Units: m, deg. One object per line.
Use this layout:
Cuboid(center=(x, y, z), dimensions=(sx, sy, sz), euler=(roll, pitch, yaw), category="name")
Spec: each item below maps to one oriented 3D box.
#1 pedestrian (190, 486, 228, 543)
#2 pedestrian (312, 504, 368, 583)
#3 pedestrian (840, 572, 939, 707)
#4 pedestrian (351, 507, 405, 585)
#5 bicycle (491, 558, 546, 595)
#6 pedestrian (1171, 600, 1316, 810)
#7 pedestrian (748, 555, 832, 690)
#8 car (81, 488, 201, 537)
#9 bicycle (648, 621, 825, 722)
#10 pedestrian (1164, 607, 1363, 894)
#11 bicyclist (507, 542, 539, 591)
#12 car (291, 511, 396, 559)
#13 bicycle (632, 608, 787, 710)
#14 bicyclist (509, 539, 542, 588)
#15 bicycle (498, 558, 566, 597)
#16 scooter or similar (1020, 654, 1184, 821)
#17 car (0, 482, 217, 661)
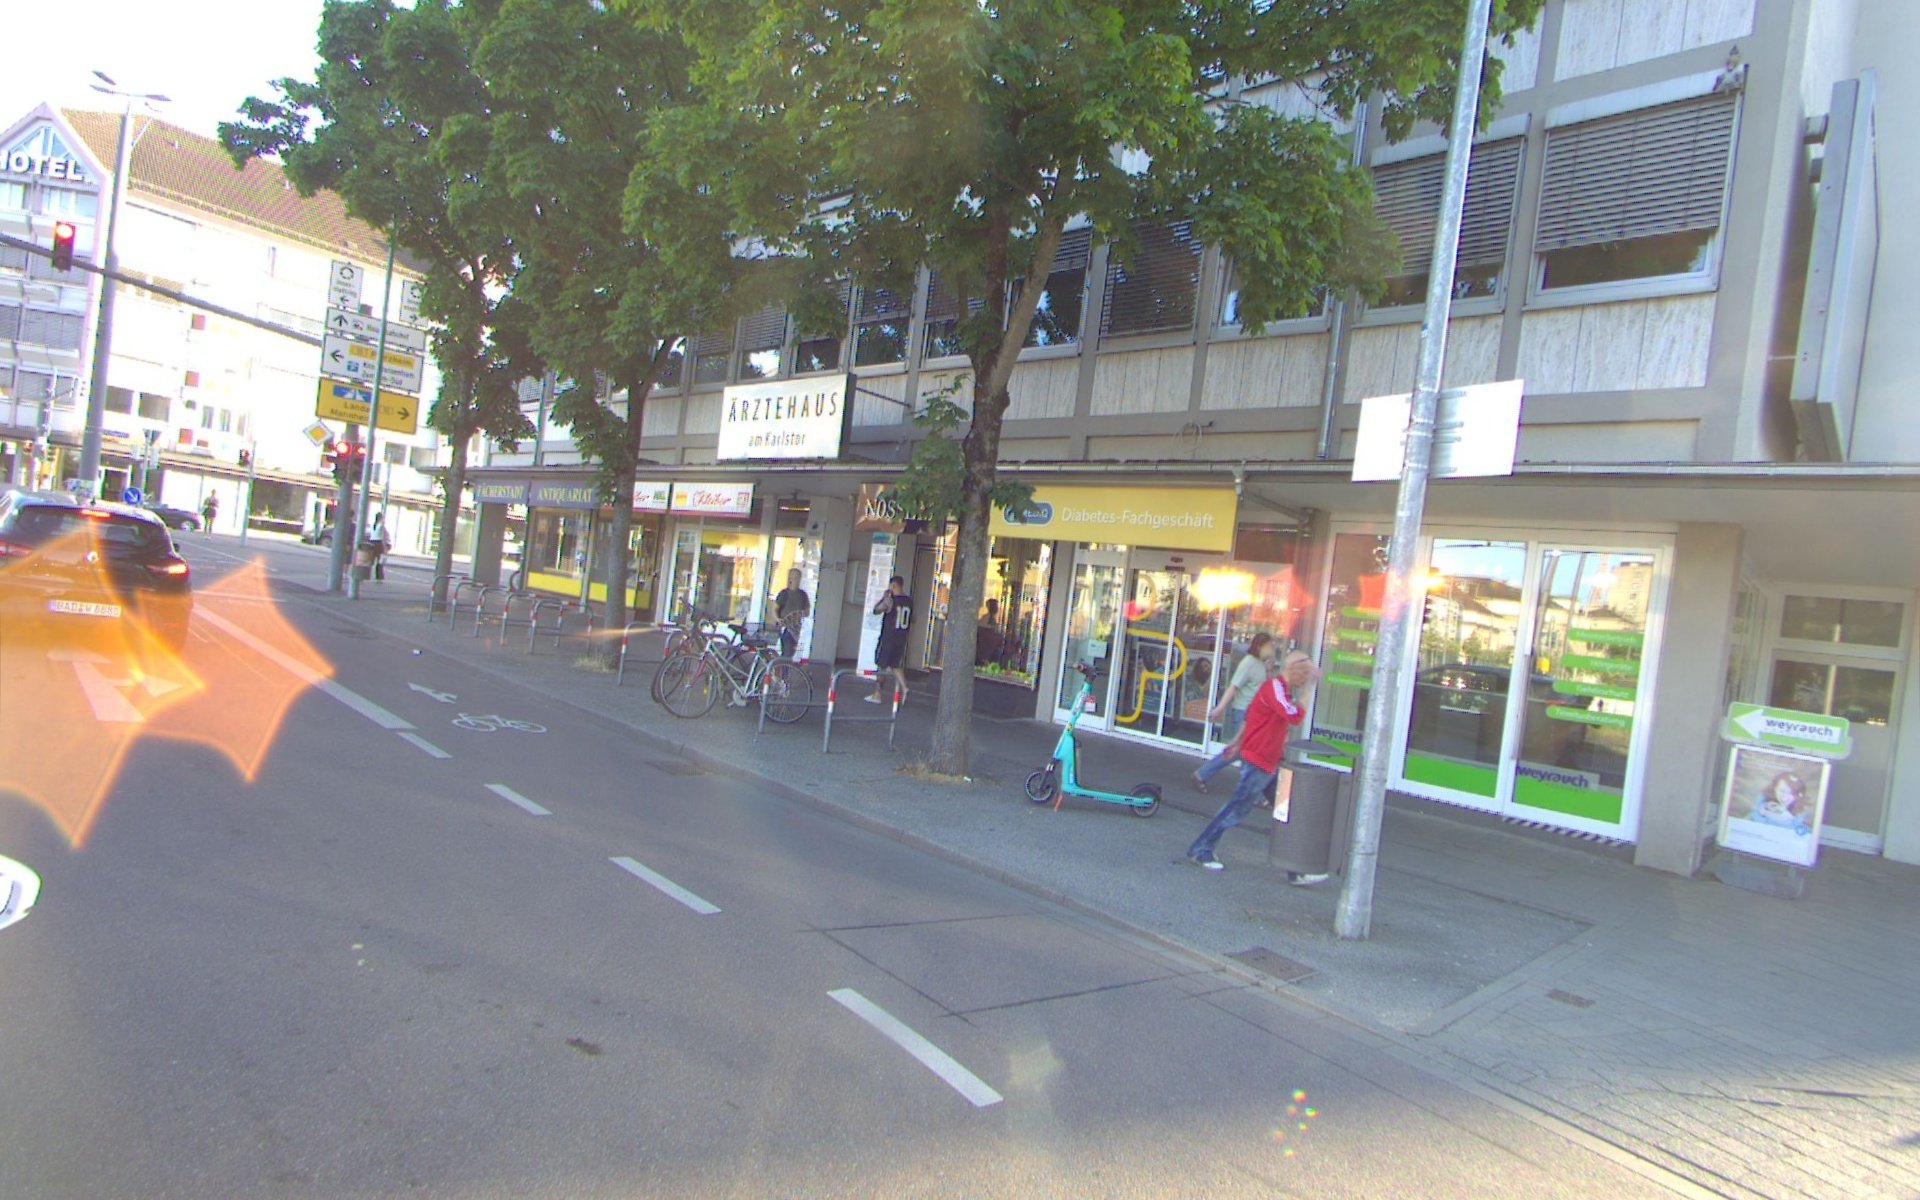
Cuboid(center=(-25.458, -2.889, 34.091), dimensions=(0.745, 1.799, 0.790), euler=(9, -1, -44), category="pedestrian")
Cuboid(center=(-15.654, -1.407, 25.436), dimensions=(0.718, 1.851, 0.995), euler=(8, -1, -15), category="pedestrian")
Cuboid(center=(-0.976, 0.540, 13.848), dimensions=(0.883, 1.703, 0.745), euler=(7, -1, 45), category="pedestrian")
Cuboid(center=(-14.832, -1.360, 25.670), dimensions=(0.717, 1.851, 0.995), euler=(8, -1, -13), category="pedestrian")
Cuboid(center=(-14.767, -0.765, 33.691), dimensions=(0.348, 1.040, 1.611), euler=(8, 0, 36), category="bicycle")
Cuboid(center=(2.722, 0.986, 9.638), dimensions=(0.957, 1.799, 0.748), euler=(8, -1, 31), category="pedestrian")
Cuboid(center=(-2.438, 0.306, 14.367), dimensions=(0.740, 1.799, 0.795), euler=(8, -1, -27), category="pedestrian")
Cuboid(center=(-38.272, -4.067, 47.081), dimensions=(1.972, 1.493, 3.985), euler=(7, -2, 41), category="car")
Cuboid(center=(-2.401, 0.804, 10.998), dimensions=(1.812, 0.901, 0.410), euler=(10, -2, -40), category="bicycle")
Cuboid(center=(2.107, 0.996, 6.985), dimensions=(1.029, 1.704, 0.826), euler=(8, -1, 20), category="pedestrian")
Cuboid(center=(-14.670, -1.113, 33.760), dimensions=(0.541, 1.531, 0.704), euler=(8, 3, 34), category="bicyclist")
Cuboid(center=(-32.874, -3.453, 53.716), dimensions=(1.972, 1.715, 4.232), euler=(7, -2, 41), category="car")
Cuboid(center=(-2.896, 0.709, 11.768), dimensions=(1.652, 0.985, 0.382), euler=(10, -1, -40), category="bicycle")
Cuboid(center=(-14.246, -1.187, 32.977), dimensions=(0.541, 1.531, 0.703), euler=(8, 3, 37), category="bicyclist")
Cuboid(center=(-14.104, -0.733, 33.219), dimensions=(0.411, 1.040, 2.036), euler=(8, -1, 38), category="bicycle")
Cuboid(center=(1.174, 1.136, 8.395), dimensions=(1.198, 1.232, 0.294), euler=(7, 0, -1), category="scooter or similar")
Cuboid(center=(-9.515, -0.405, 10.766), dimensions=(3.947, 1.457, 1.761), euler=(8, -1, 44), category="car")
